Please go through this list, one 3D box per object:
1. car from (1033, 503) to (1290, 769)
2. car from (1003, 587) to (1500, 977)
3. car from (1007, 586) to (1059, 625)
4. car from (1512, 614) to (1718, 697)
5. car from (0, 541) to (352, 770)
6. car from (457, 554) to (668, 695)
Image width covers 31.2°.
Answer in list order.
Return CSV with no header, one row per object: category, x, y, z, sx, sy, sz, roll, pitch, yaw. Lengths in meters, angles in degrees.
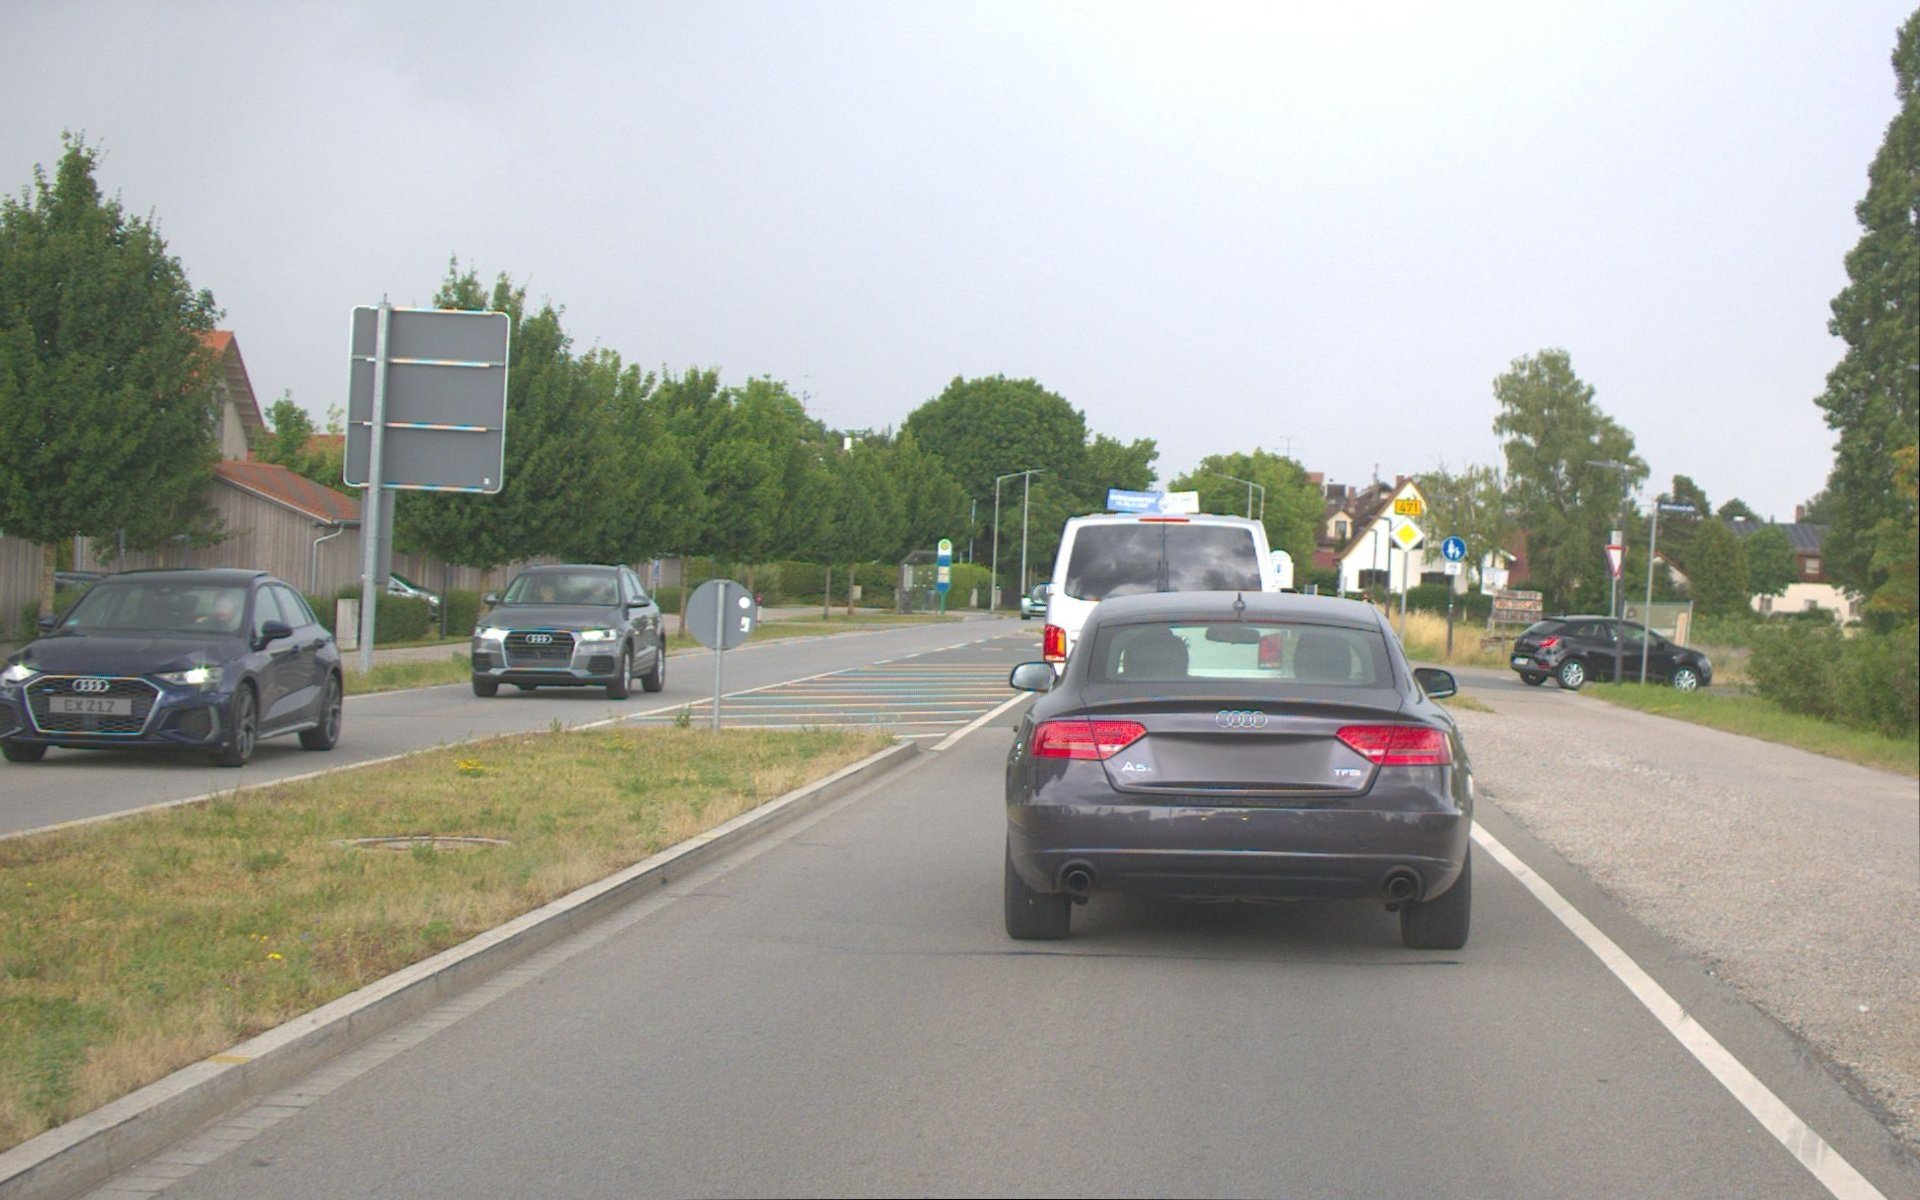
car,1.537,0.266,27.026,1.867,1.927,4.000,0,0,2
car,1.135,0.665,14.603,1.784,1.387,4.132,1,0,2
car,3.106,0.225,146.827,1.993,1.503,4.000,3,0,-1
car,12.423,1.046,65.273,3.500,1.368,1.444,3,0,-7
car,-6.003,0.385,26.131,1.867,1.568,4.000,1,0,3
car,-4.701,0.288,41.209,1.867,1.568,4.000,1,0,3
